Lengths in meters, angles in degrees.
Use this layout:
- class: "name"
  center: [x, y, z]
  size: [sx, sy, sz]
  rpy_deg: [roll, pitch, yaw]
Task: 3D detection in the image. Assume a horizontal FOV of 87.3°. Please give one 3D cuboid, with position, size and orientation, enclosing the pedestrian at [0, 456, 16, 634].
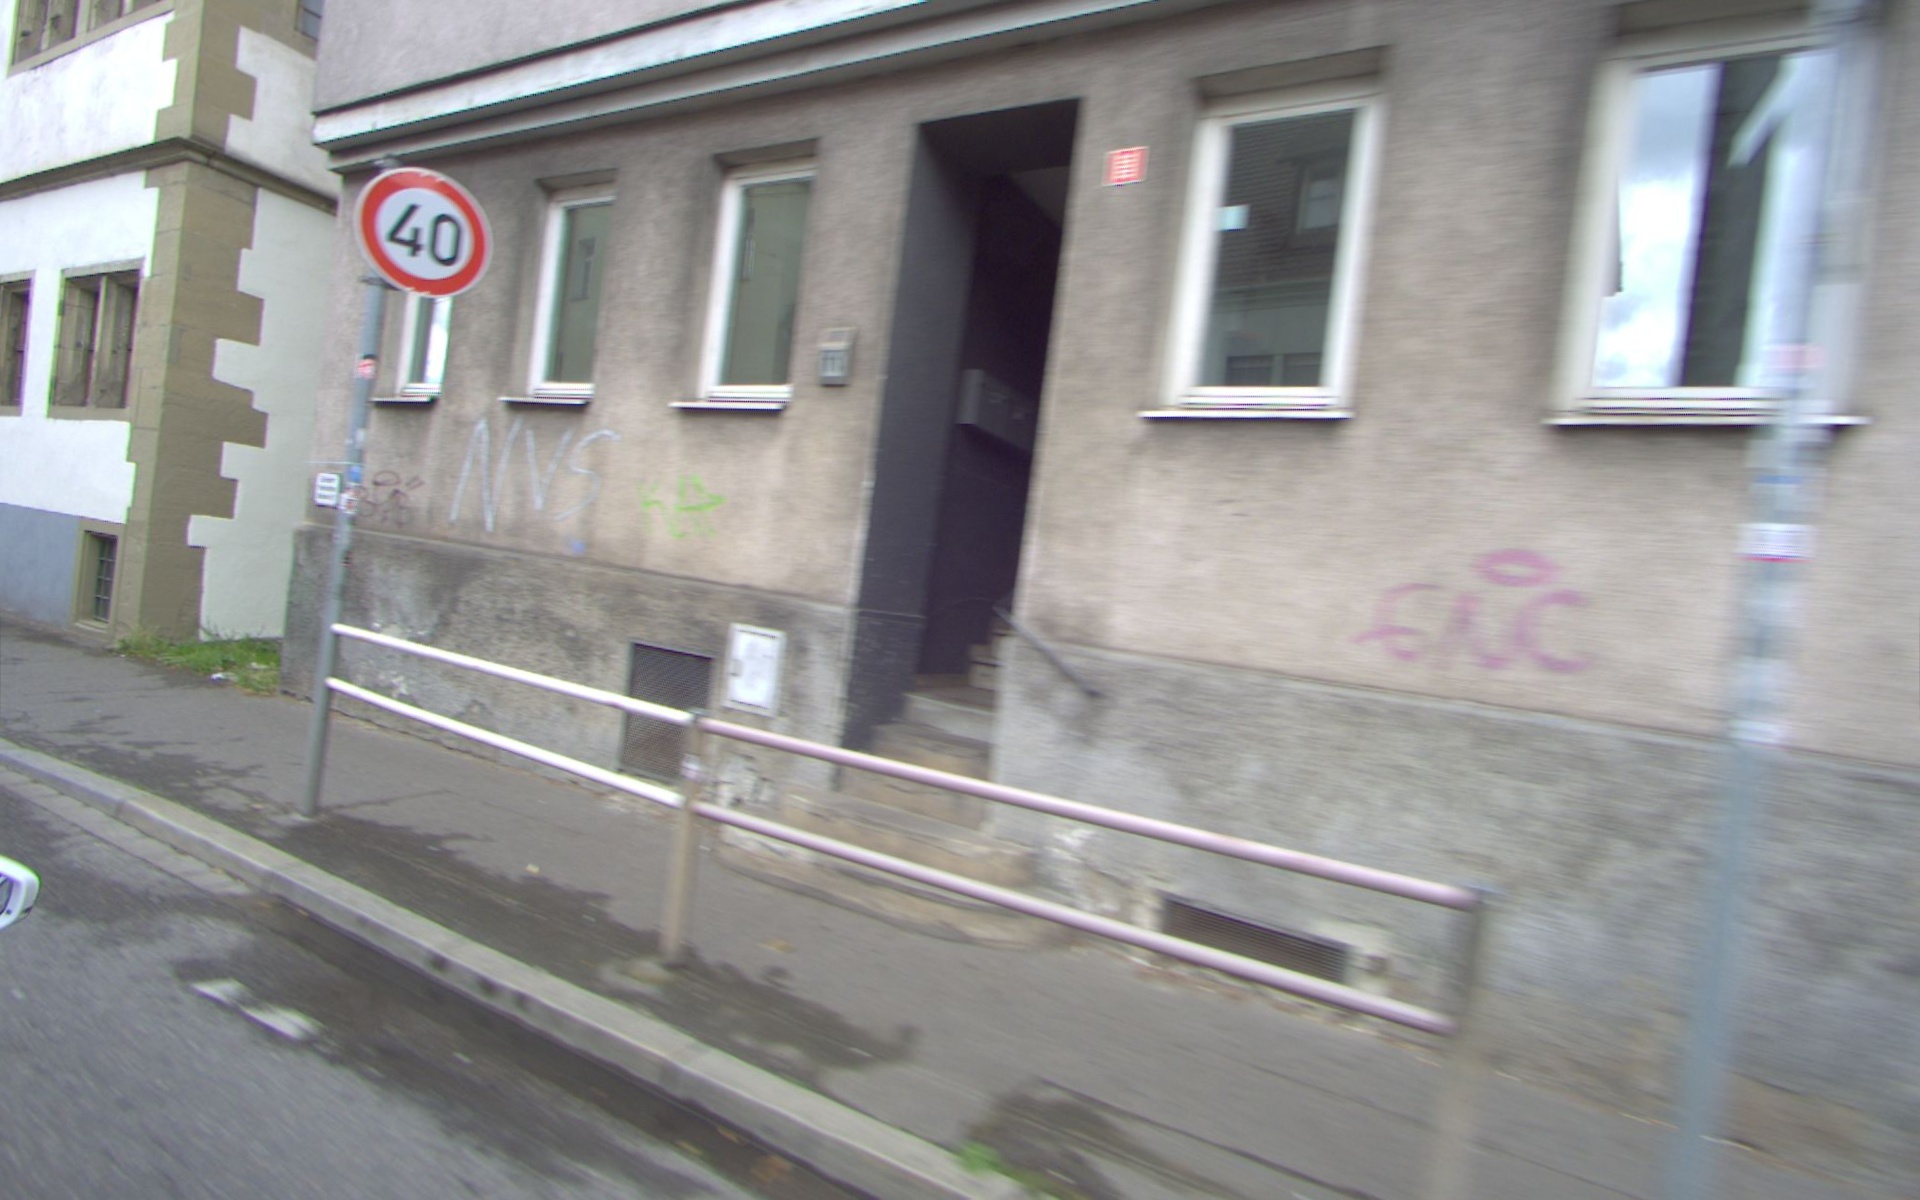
- class: "pedestrian"
  center: [-9.583, -0.568, 9.404]
  size: [0.928, 1.678, 0.832]
  rpy_deg: [7, 2, 31]
